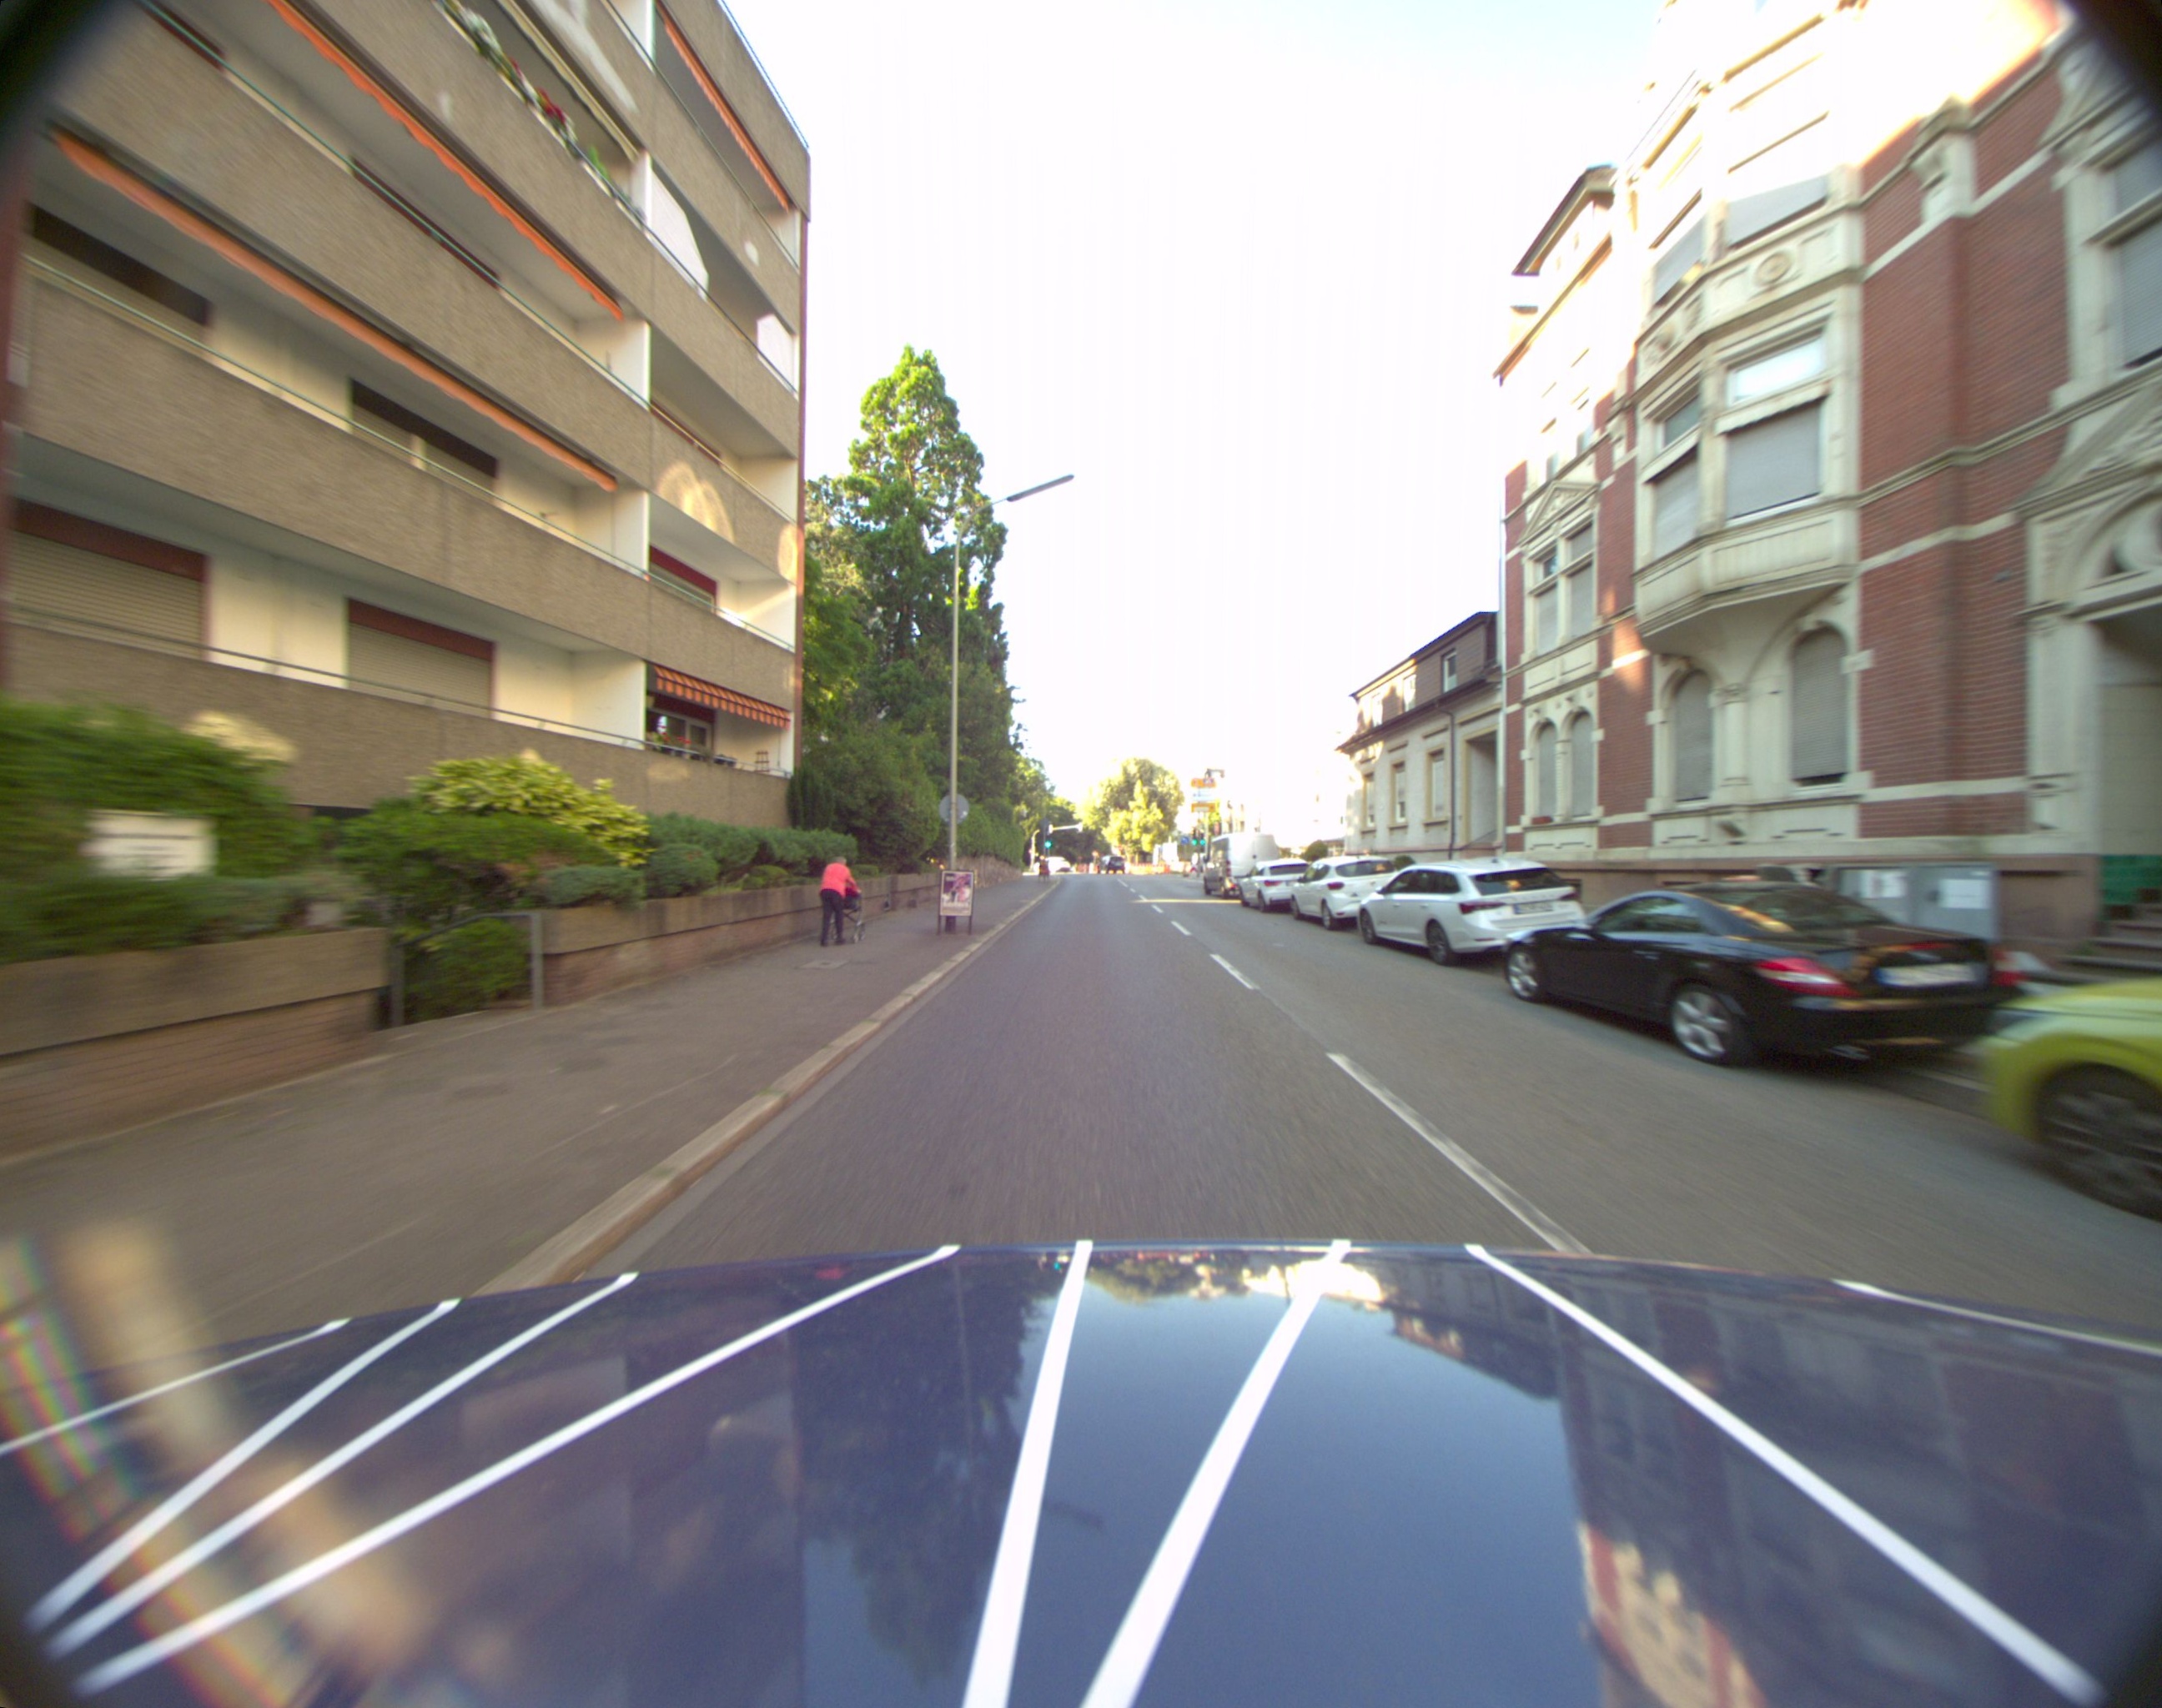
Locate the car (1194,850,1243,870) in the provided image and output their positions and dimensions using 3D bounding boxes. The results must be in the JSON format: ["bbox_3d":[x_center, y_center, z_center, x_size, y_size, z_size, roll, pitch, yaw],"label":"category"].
[{"bbox_3d":[14.352,0.628,79.537,4.681,1.953,2.117,-1,-1,-5],"label":"car"}]

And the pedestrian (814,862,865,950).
[{"bbox_3d":[-3.936,0.832,12.417,0.599,1.394,0.668,-1,0,-1],"label":"pedestrian"}]

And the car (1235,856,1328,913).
[{"bbox_3d":[5.801,0.834,22.412,1.707,1.494,3.823,-1,0,0],"label":"car"}]

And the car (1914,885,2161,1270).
[{"bbox_3d":[5.234,0.963,1.989,1.706,1.494,4.072,-1,1,2],"label":"car"}]

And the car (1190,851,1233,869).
[{"bbox_3d":[14.084,0.659,82.331,4.324,1.840,2.000,-1,-1,0],"label":"car"}]

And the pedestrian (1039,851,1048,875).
[{"bbox_3d":[-2.677,0.653,53.803,0.604,1.683,0.612,1,0,0],"label":"pedestrian"}]

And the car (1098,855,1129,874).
[{"bbox_3d":[2.977,1.015,70.748,1.960,1.638,4.280,-1,-1,-10],"label":"car"}]

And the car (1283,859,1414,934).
[{"bbox_3d":[6.023,0.889,17.613,1.706,1.494,4.021,-1,0,2],"label":"car"}]

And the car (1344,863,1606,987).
[{"bbox_3d":[5.872,0.940,12.073,1.707,1.527,4.548,-1,0,-1],"label":"car"}]

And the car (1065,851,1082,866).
[{"bbox_3d":[-0.814,0.533,83.586,1.780,1.638,4.534,-1,-1,-1],"label":"car"}]

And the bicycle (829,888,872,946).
[{"bbox_3d":[-3.953,1.075,13.068,0.567,0.964,0.492,-1,-1,-1],"label":"bicycle"}]

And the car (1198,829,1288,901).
[{"bbox_3d":[6.089,0.383,29.426,2.073,2.446,6.013,-1,0,-1],"label":"car"}]

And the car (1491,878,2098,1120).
[{"bbox_3d":[5.458,0.961,6.636,1.706,1.358,3.860,-1,0,1],"label":"car"}]
